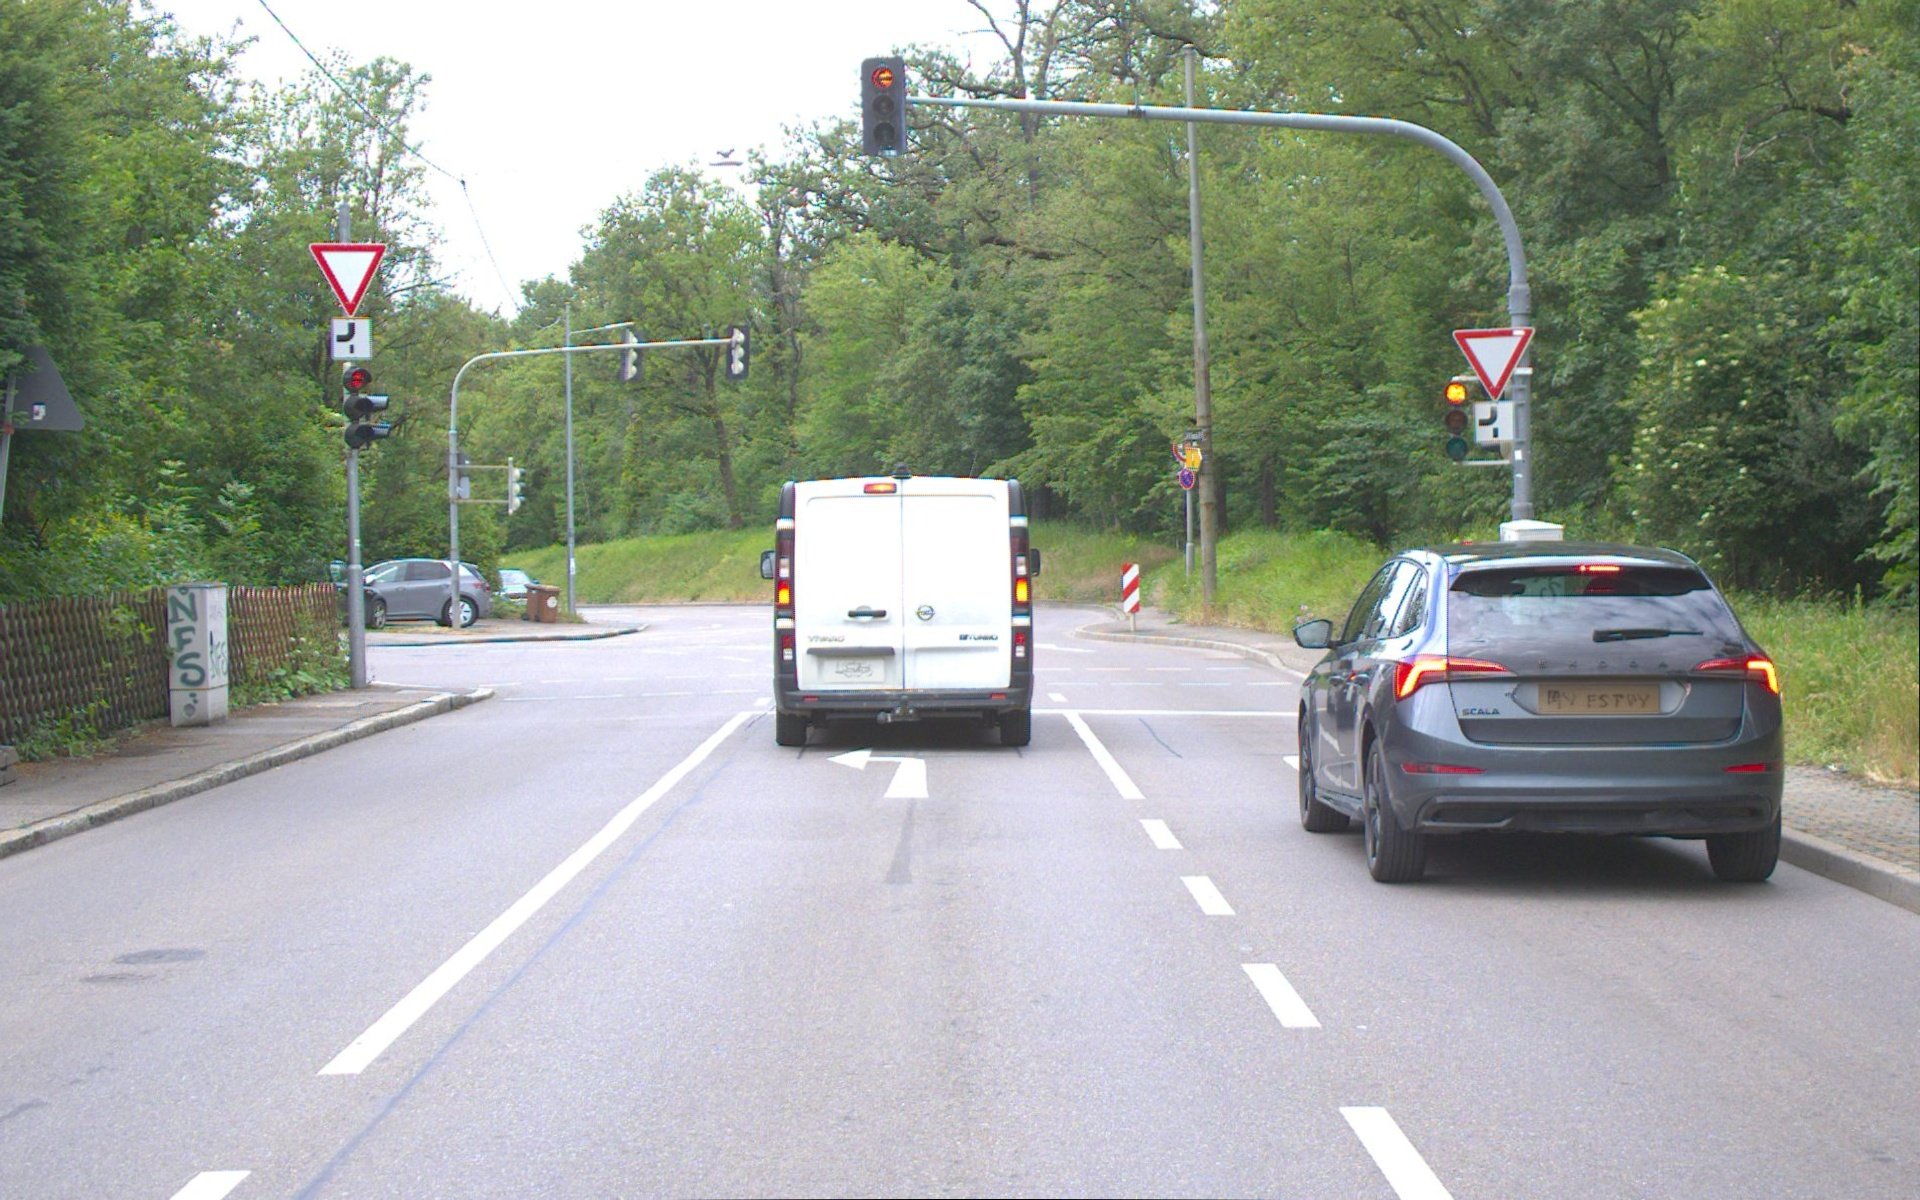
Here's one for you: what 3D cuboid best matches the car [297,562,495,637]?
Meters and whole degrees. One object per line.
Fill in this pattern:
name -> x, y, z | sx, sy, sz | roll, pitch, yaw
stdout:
car -> -12.490, -0.030, 76.085 | 4.085, 1.548, 1.855 | -1, 1, -17

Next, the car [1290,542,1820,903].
car -> 2.598, 0.464, 15.899 | 1.792, 1.445, 4.000 | -1, 1, 1

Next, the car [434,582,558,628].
car -> -16.055, 0.186, 118.900 | 3.994, 1.501, 1.859 | -1, 2, 34

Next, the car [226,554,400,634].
car -> -12.389, -0.126, 66.005 | 1.699, 1.444, 3.539 | 2, 1, 20

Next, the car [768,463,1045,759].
car -> -0.467, 0.041, 26.280 | 1.916, 2.046, 4.615 | -1, 1, -2
